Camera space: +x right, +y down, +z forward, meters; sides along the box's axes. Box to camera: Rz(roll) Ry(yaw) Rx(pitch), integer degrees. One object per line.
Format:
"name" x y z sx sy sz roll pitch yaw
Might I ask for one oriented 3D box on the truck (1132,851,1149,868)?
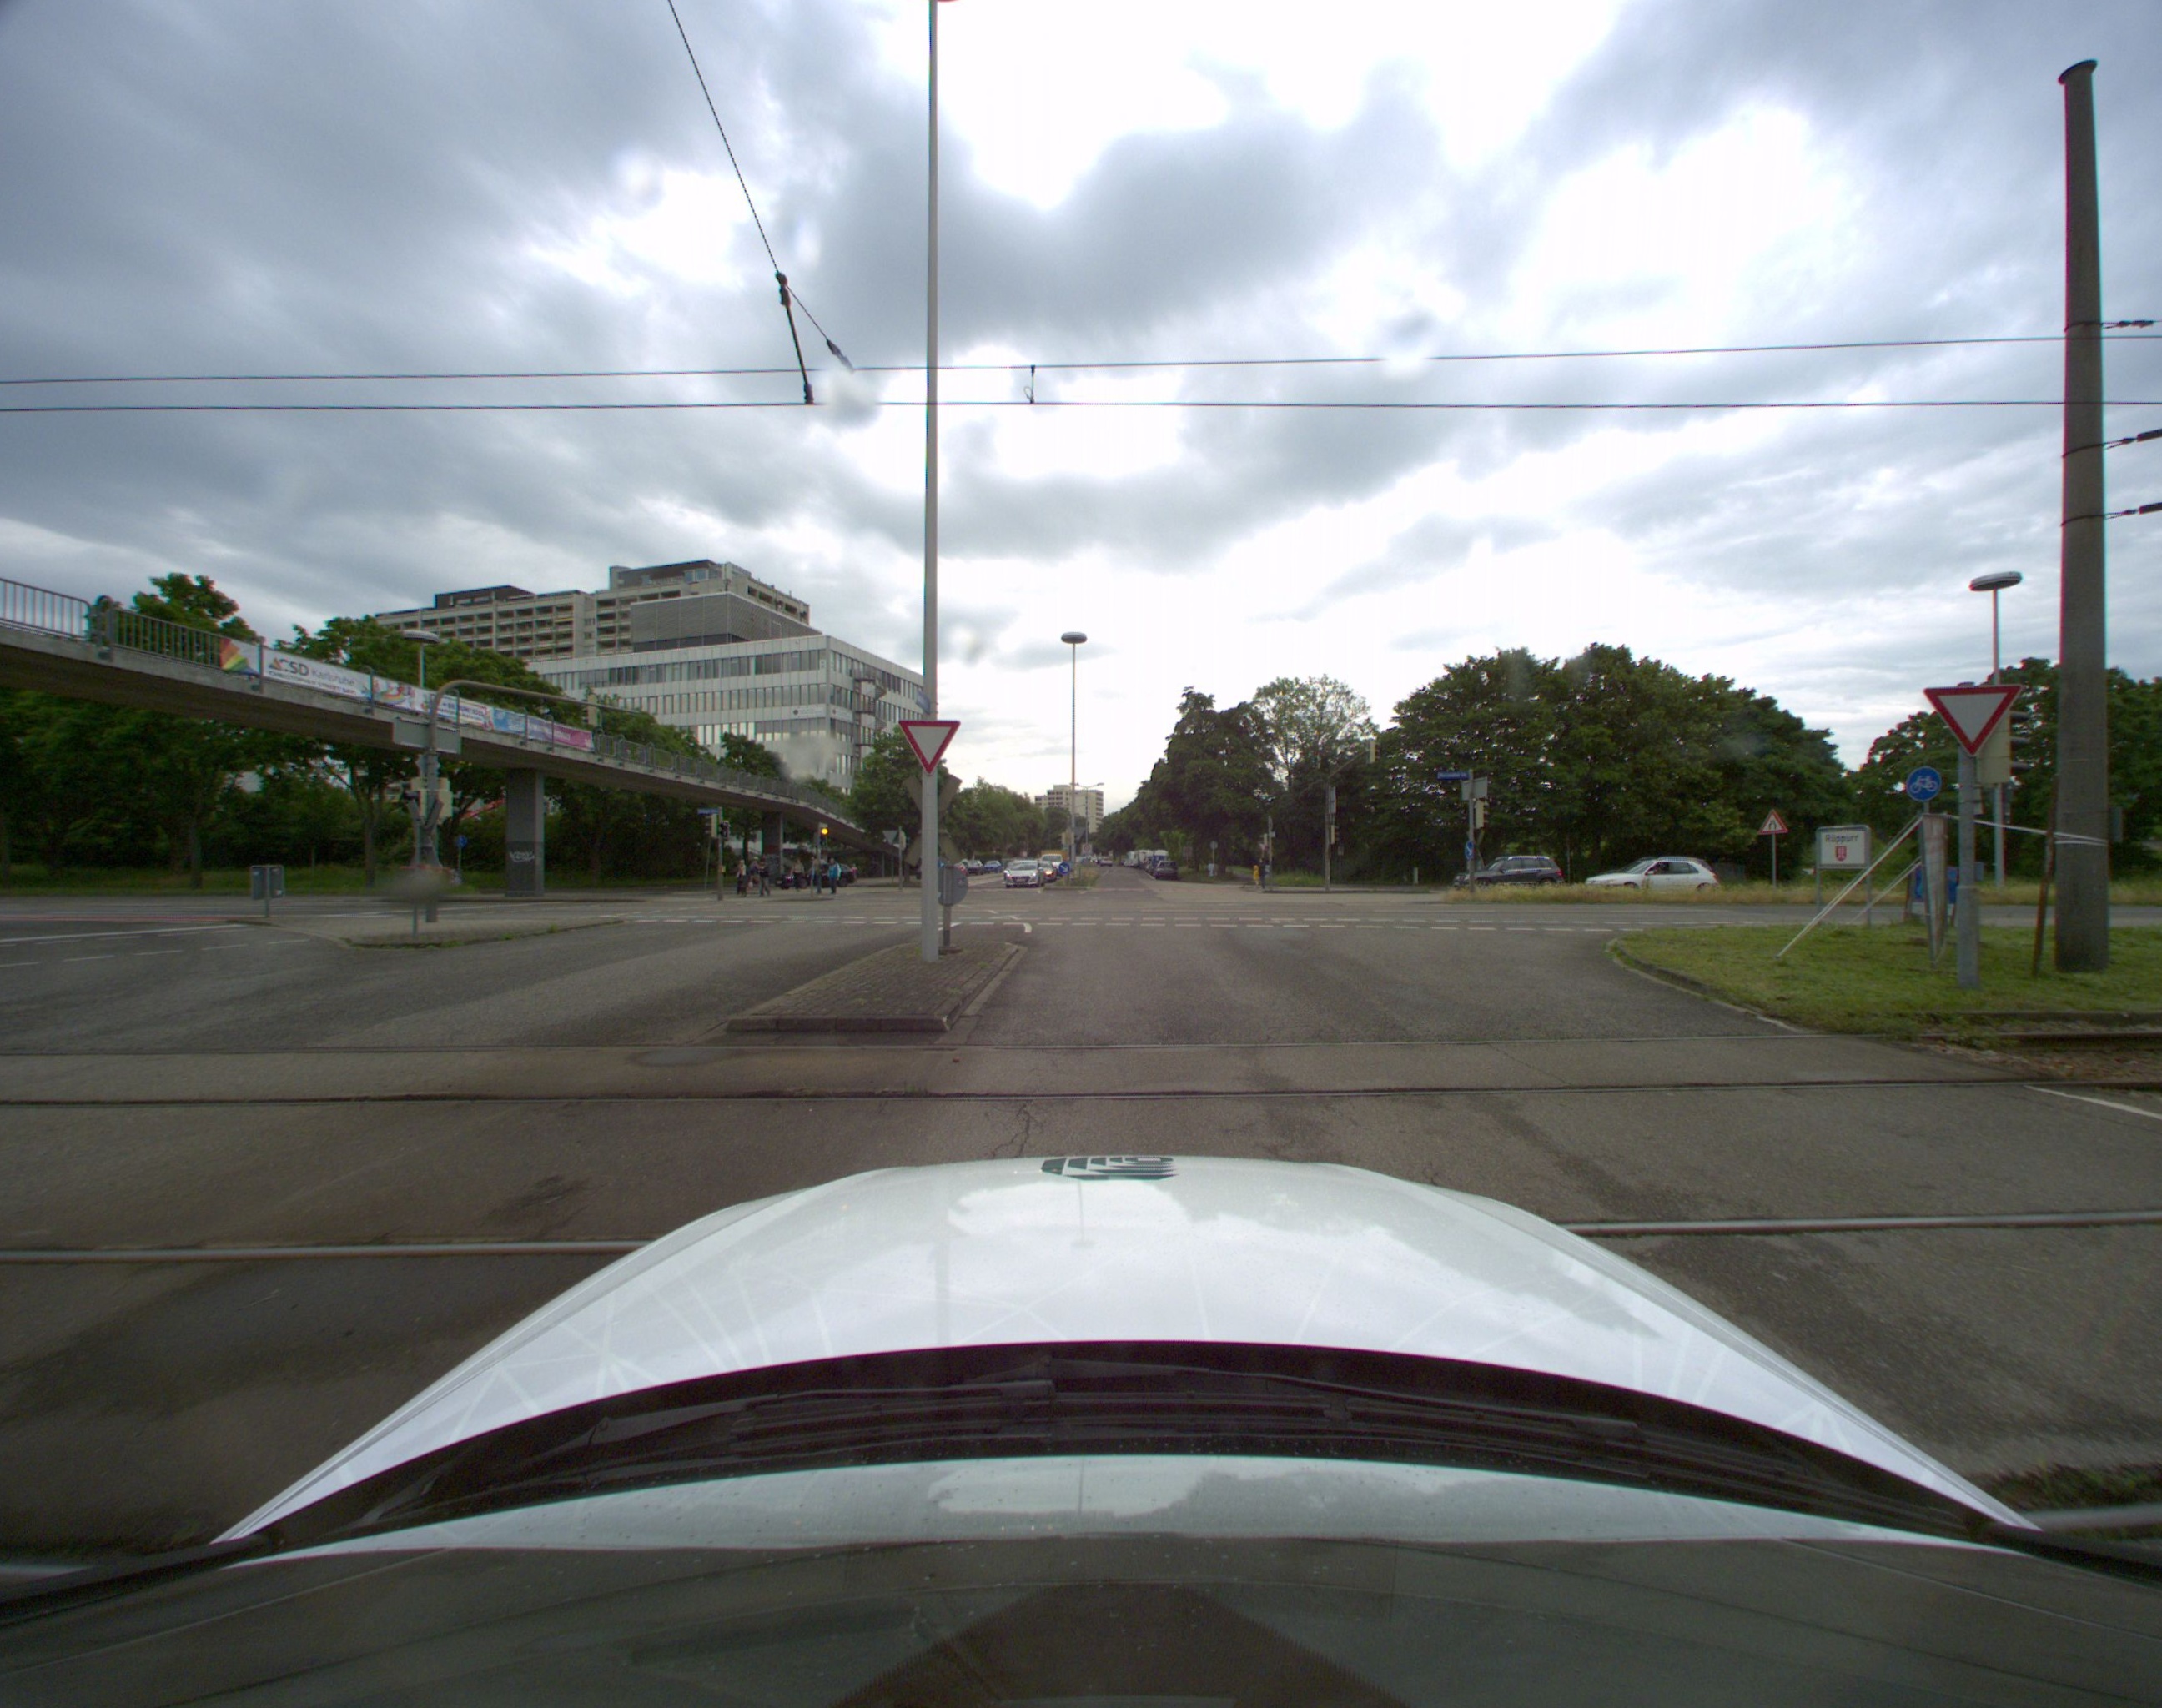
"truck" 9.177 0.938 125.830 1.988 2.573 5.375 0 -1 -1

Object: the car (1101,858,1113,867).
"car" 4.528 1.512 141.508 2.013 1.505 4.000 0 0 0

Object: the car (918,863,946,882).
"car" -13.010 1.580 71.378 1.665 1.552 3.893 0 0 1

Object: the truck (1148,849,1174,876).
"truck" 8.216 0.891 84.408 2.167 2.656 6.246 -1 -1 1

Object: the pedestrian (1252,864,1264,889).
"pedestrian" 9.475 1.210 43.535 0.525 1.342 0.525 0 -1 0

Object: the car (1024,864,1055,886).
"car" -2.809 1.409 55.948 1.891 1.420 4.734 0 0 -1

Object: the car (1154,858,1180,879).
"car" 7.084 1.173 67.607 1.778 1.662 4.000 0 0 0

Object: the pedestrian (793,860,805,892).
"pedestrian" -14.099 1.090 40.730 0.580 1.579 0.777 0 -1 -18

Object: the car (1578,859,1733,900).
"car" 19.550 0.850 27.824 4.122 1.357 1.648 0 0 1

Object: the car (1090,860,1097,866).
"car" 3.537 2.442 225.717 2.013 1.505 4.000 0 0 0

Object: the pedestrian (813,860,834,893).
"pedestrian" -11.996 1.026 37.941 0.917 1.511 0.402 0 -1 -11

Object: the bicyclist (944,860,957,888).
"bicyclist" -7.562 1.159 47.202 0.677 1.594 0.695 0 -1 0

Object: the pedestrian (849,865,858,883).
"pedestrian" -15.904 1.395 56.951 0.497 1.270 0.459 0 -1 3

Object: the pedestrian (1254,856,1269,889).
"pedestrian" 9.516 0.986 42.922 0.654 1.750 0.459 0 -1 0

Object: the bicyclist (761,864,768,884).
"bicyclist" -20.984 1.304 53.958 0.385 1.303 0.275 0 -1 -36

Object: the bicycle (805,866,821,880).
"bicycle" -18.661 1.309 56.698 0.524 0.949 1.709 0 0 2

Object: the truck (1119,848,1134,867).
"truck" 7.647 0.638 136.633 1.989 3.009 5.766 0 -1 -2

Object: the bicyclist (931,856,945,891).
"bicyclist" -7.399 1.007 42.151 0.642 1.769 0.647 0 -1 0

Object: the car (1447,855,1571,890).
"car" 18.536 0.788 35.435 4.448 1.504 1.846 0 0 1

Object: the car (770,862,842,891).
"car" -15.879 1.284 47.219 1.654 1.508 4.417 0 0 17

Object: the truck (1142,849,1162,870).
"truck" 9.832 0.738 113.757 1.989 2.838 5.725 0 -1 -3

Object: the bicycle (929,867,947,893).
"bicycle" -7.406 1.322 42.300 0.541 1.267 2.111 0 0 1

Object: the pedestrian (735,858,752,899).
"pedestrian" -14.105 1.007 34.040 0.619 1.691 0.403 0 -1 -13

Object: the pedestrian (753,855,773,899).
"pedestrian" -13.399 0.954 34.334 0.636 1.804 0.800 0 -1 -8

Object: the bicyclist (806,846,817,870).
"bicyclist" -18.711 0.262 56.497 0.563 1.644 0.531 0 -1 1

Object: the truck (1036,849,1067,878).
"truck" -2.288 0.738 64.616 2.147 2.199 5.842 0 0 1

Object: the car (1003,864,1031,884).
"car" -4.949 1.540 63.718 1.764 1.477 4.390 0 0 1

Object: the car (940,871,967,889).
"car" -10.300 2.079 65.994 1.506 1.390 3.534 0 -1 2

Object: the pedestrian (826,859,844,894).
"pedestrian" -11.392 1.058 37.691 0.685 1.605 0.487 0 -1 -4

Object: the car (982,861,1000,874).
"car" -11.348 1.673 102.520 1.665 1.552 4.001 0 0 1

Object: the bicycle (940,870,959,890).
"bicycle" -7.633 1.507 47.244 0.724 1.101 2.264 0 0 1

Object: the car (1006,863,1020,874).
"car" -10.006 2.057 119.700 1.665 1.552 4.001 0 0 1

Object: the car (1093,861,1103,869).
"car" 3.475 2.294 168.380 2.013 1.505 4.000 0 0 0

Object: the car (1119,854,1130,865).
"car" 8.127 1.031 152.470 1.648 1.918 3.914 0 0 -3

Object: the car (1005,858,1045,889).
"car" -3.014 1.036 44.695 1.783 1.519 4.325 -3 -1 1

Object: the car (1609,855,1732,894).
"car" 25.351 0.853 35.128 3.975 1.618 1.878 0 -1 -1
